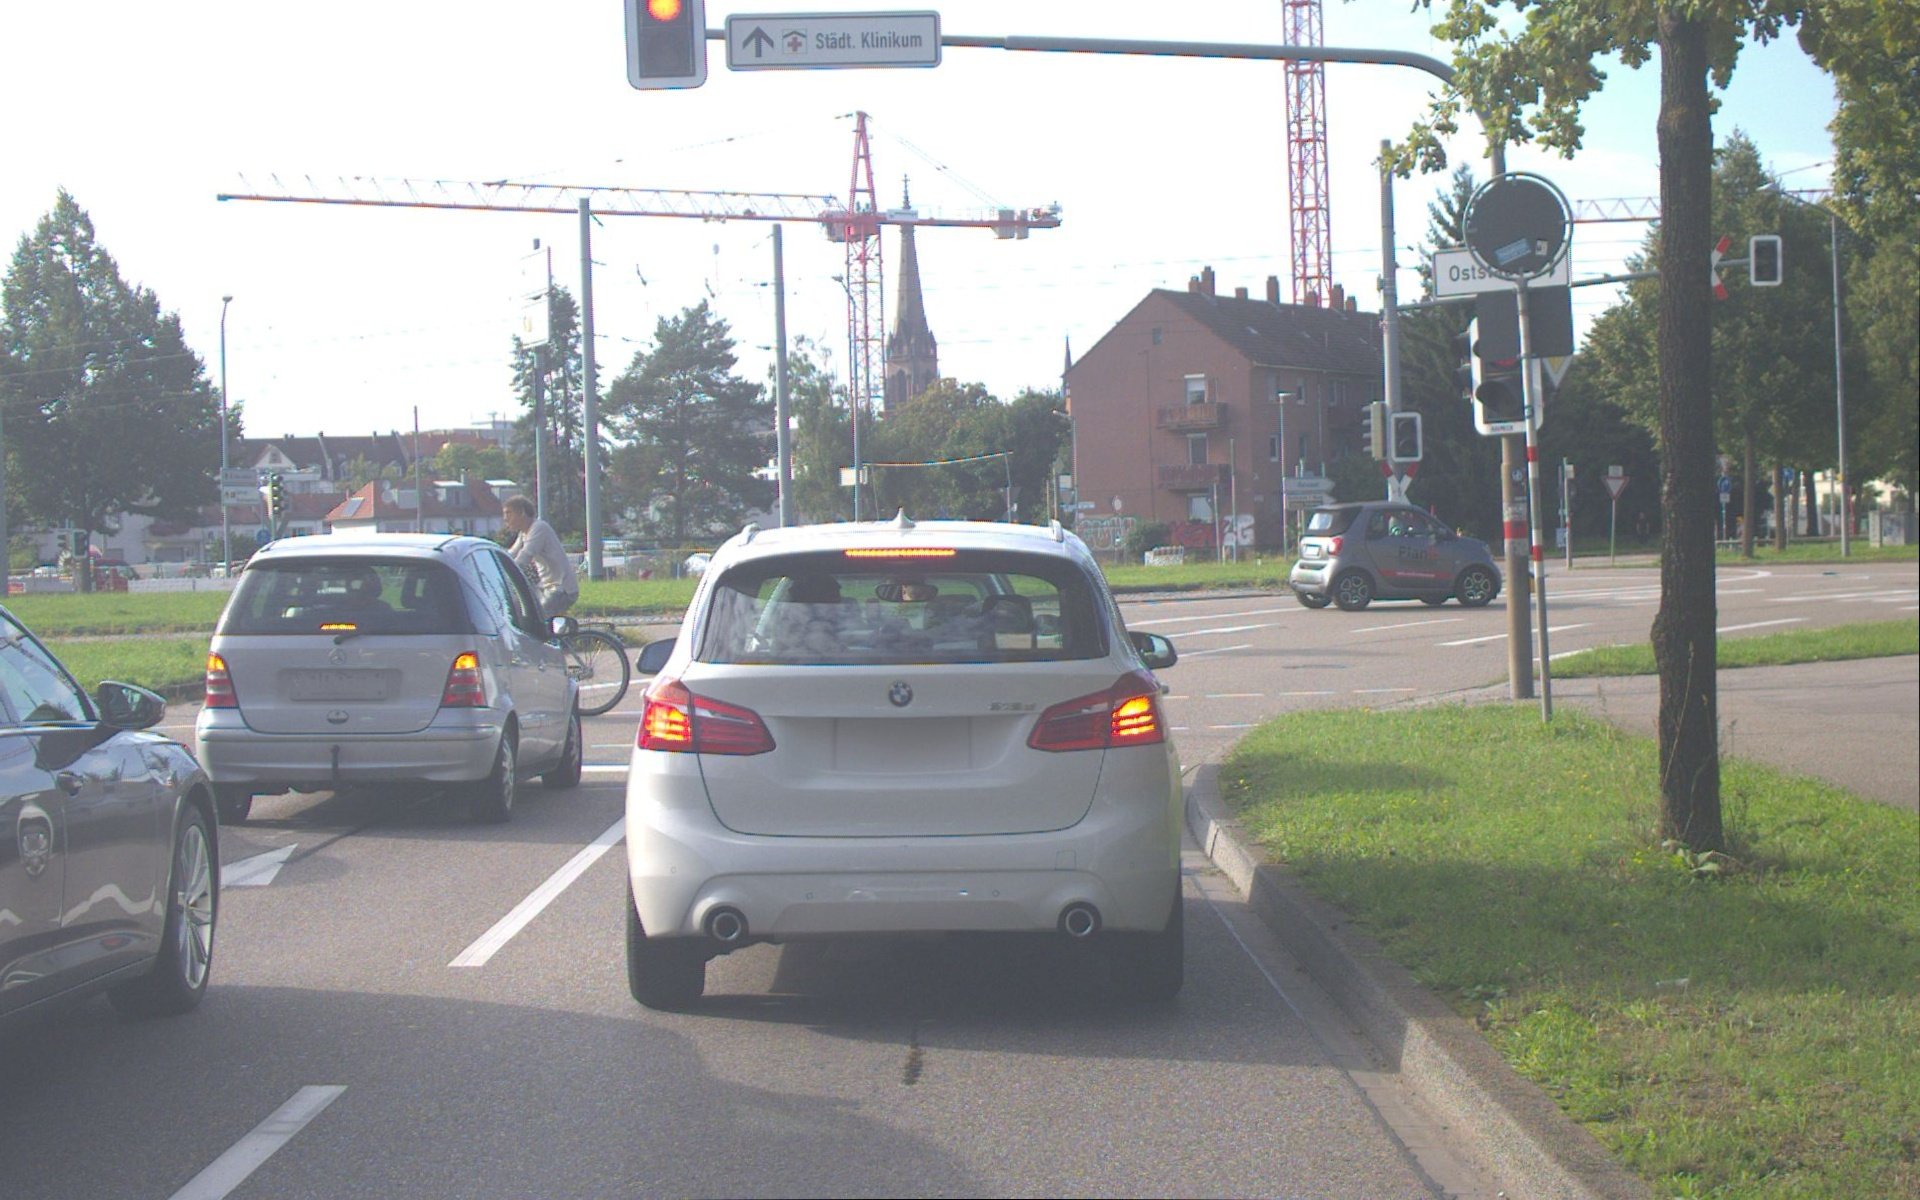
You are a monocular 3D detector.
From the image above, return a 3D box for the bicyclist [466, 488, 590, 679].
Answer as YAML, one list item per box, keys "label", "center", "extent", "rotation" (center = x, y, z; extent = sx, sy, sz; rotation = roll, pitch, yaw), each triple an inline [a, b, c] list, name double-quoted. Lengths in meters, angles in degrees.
- label: "bicyclist"
  center: [-3.551, -0.136, 28.203]
  extent: [0.848, 1.521, 0.741]
  rotation: [-2, 1, -17]

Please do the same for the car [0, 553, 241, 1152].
- label: "car"
  center: [-3.329, 0.620, 9.206]
  extent: [1.890, 1.478, 4.613]
  rotation: [0, 1, -1]

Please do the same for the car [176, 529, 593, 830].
- label: "car"
  center: [-3.193, 0.372, 19.811]
  extent: [1.729, 1.553, 4.058]
  rotation: [0, 1, 0]

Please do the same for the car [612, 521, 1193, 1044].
- label: "car"
  center: [-0.198, 0.508, 12.305]
  extent: [1.729, 1.553, 4.058]
  rotation: [0, 1, -1]

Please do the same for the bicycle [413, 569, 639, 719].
- label: "bicycle"
  center: [-3.559, 0.349, 28.195]
  extent: [1.724, 1.159, 0.656]
  rotation: [-2, 1, -16]

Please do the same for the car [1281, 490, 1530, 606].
- label: "car"
  center: [6.415, -0.758, 49.636]
  extent: [3.187, 1.568, 1.575]
  rotation: [-2, 2, -12]
